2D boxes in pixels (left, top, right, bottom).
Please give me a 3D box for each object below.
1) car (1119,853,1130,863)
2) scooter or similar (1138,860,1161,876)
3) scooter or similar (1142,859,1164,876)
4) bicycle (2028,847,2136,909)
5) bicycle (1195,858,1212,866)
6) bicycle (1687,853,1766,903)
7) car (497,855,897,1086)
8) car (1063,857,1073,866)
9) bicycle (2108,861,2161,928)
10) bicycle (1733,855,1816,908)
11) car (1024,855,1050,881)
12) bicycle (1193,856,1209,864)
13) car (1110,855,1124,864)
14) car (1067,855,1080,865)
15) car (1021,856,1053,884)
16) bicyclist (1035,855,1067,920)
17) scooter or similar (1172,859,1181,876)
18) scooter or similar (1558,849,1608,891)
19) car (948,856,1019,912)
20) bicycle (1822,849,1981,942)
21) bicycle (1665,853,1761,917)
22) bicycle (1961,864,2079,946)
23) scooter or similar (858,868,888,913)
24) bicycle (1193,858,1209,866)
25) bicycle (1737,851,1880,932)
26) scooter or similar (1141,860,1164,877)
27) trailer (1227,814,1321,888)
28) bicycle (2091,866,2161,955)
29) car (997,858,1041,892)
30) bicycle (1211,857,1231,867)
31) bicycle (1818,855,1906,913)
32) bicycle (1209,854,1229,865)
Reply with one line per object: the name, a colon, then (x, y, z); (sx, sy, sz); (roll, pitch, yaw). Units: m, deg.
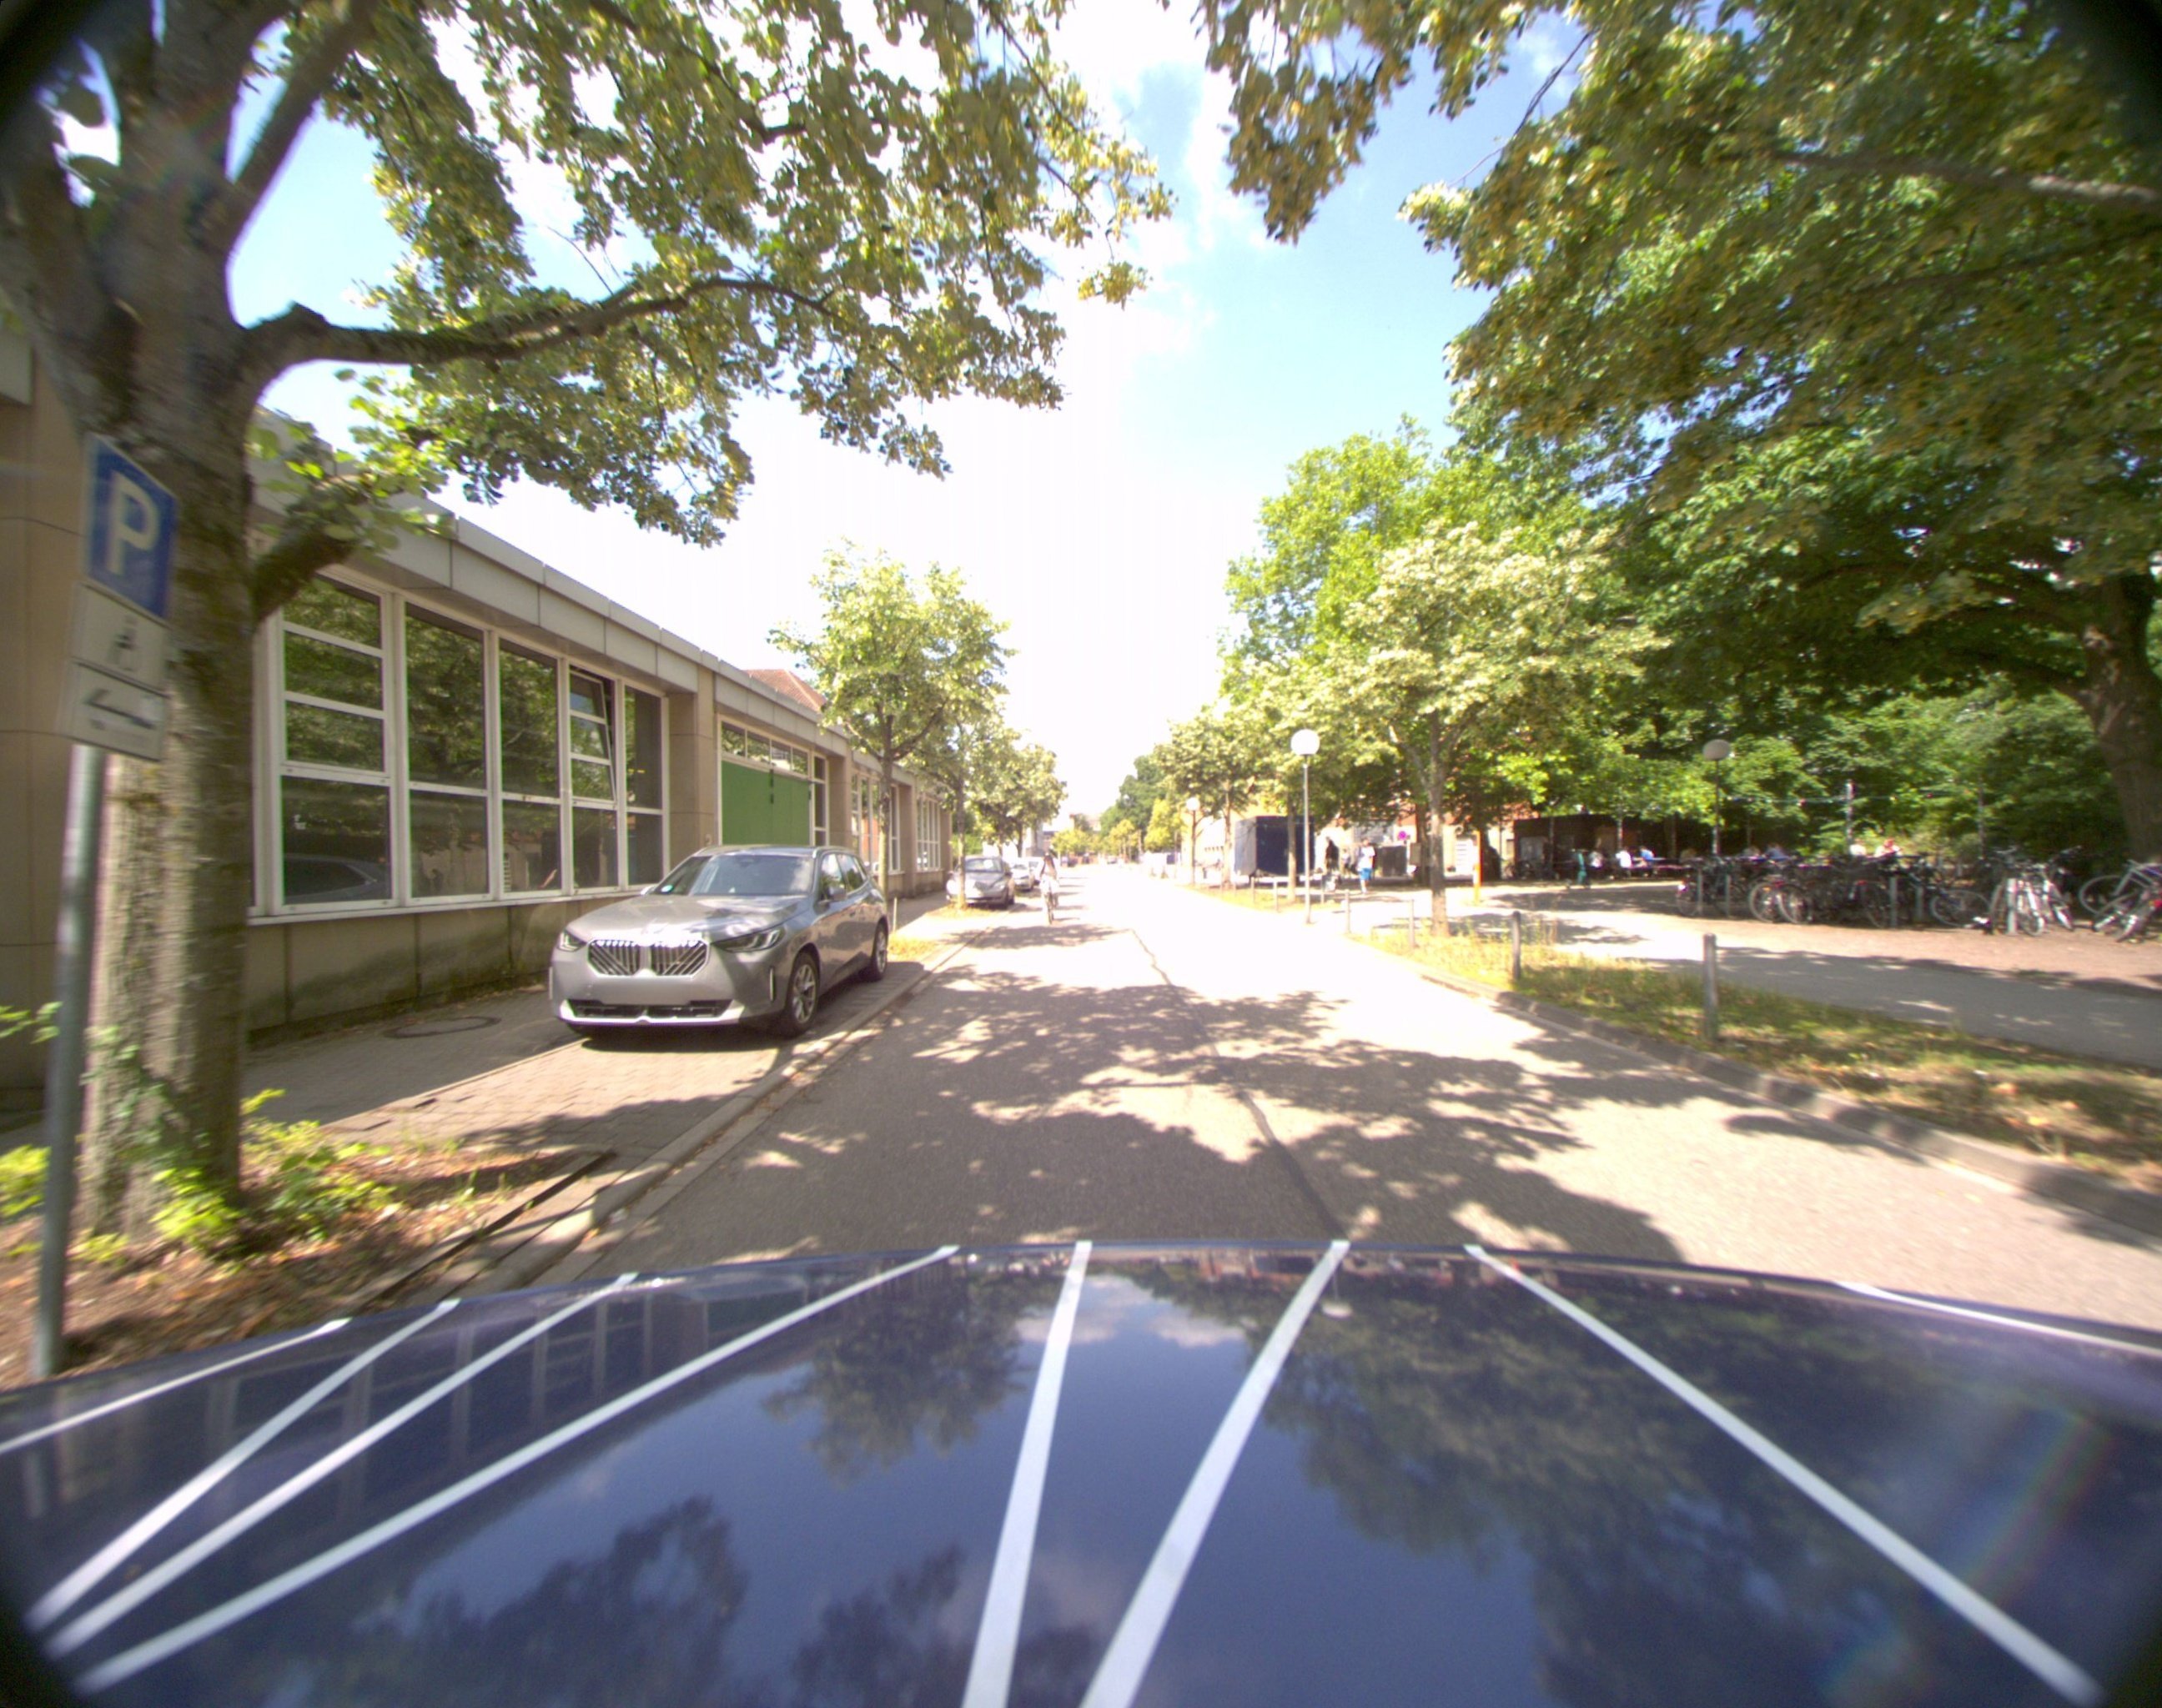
car: (8.672, 0.758, 152.009); (1.912, 1.870, 4.003); (-1, -1, 7)
scooter or similar: (5.122, 1.042, 56.838); (1.571, 1.218, 0.566); (-1, 1, 27)
scooter or similar: (5.434, 1.014, 57.515); (1.571, 1.218, 0.571); (-1, 1, 27)
bicycle: (18.766, 0.436, 14.248); (1.968, 1.083, 0.546); (-2, 0, -16)
bicycle: (14.842, 0.993, 92.151); (1.955, 0.935, 0.569); (-1, 0, -1)
bicycle: (15.089, 0.554, 17.759); (1.863, 1.083, 0.546); (-2, 0, -21)
car: (-3.307, 0.844, 7.749); (1.827, 1.654, 4.583); (0, 0, -1)
car: (-2.061, 1.209, 122.812); (1.552, 1.377, 3.453); (-1, 0, -1)
bicycle: (19.126, 0.686, 13.406); (1.968, 1.083, 0.546); (-2, 0, -16)
bicycle: (15.311, 0.581, 16.762); (1.863, 1.083, 0.546); (-2, 0, -21)
car: (-2.829, 0.877, 49.774); (1.591, 1.458, 3.987); (0, 2, -2)
bicycle: (15.163, 0.721, 96.147); (1.955, 1.024, 0.518); (-1, 0, -1)
car: (8.447, 1.357, 178.194); (2.022, 2.079, 4.440); (-1, -1, 21)
car: (-1.290, 1.065, 131.103); (1.939, 1.671, 3.471); (0, 0, 5)
car: (-2.475, 0.895, 43.257); (1.651, 1.382, 3.987); (-2, 1, -2)
bicyclist: (-0.704, 0.776, 18.087); (0.675, 1.470, 1.062); (-1, 2, 2)
scooter or similar: (6.878, 0.955, 54.657); (0.564, 1.142, 1.351); (-1, 0, 12)
scooter or similar: (15.592, 0.485, 23.634); (0.700, 1.239, 1.241); (-2, 0, 0)
car: (-2.886, 0.844, 23.318); (1.708, 1.565, 4.140); (0, 0, -1)
bicycle: (12.482, 0.597, 11.570); (2.062, 1.227, 0.808); (-3, 1, -17)
bicycle: (11.819, 0.557, 14.202); (1.780, 1.125, 0.458); (-1, 0, -17)
bicycle: (13.177, 0.670, 10.646); (2.157, 1.002, 0.676); (-1, 0, -29)
scooter or similar: (-5.969, 1.017, 21.823); (0.417, 1.210, 1.493); (1, 0, 1)
bicycle: (14.835, 1.003, 93.802); (1.955, 1.024, 0.530); (-1, 0, -1)
bicycle: (12.150, 0.595, 12.701); (2.062, 1.227, 0.808); (-2, 1, -17)
scooter or similar: (5.265, 1.057, 55.888); (1.571, 1.218, 0.525); (-1, 1, 27)
trailer: (8.703, -0.130, 35.040); (2.703, 3.009, 6.266); (-2, 0, 0)
bicycle: (13.434, 0.673, 9.522); (1.895, 1.002, 0.676); (-1, 0, -29)
car: (-2.742, 0.908, 34.591); (1.730, 1.458, 4.671); (0, 0, -1)
bicycle: (14.983, 0.843, 81.225); (2.027, 1.055, 0.663); (-1, 0, -1)
bicycle: (15.955, 0.590, 15.517); (1.863, 1.083, 0.546); (-2, 0, -21)
bicycle: (14.426, 0.565, 79.449); (2.015, 1.076, 0.622); (-1, 0, -1)
